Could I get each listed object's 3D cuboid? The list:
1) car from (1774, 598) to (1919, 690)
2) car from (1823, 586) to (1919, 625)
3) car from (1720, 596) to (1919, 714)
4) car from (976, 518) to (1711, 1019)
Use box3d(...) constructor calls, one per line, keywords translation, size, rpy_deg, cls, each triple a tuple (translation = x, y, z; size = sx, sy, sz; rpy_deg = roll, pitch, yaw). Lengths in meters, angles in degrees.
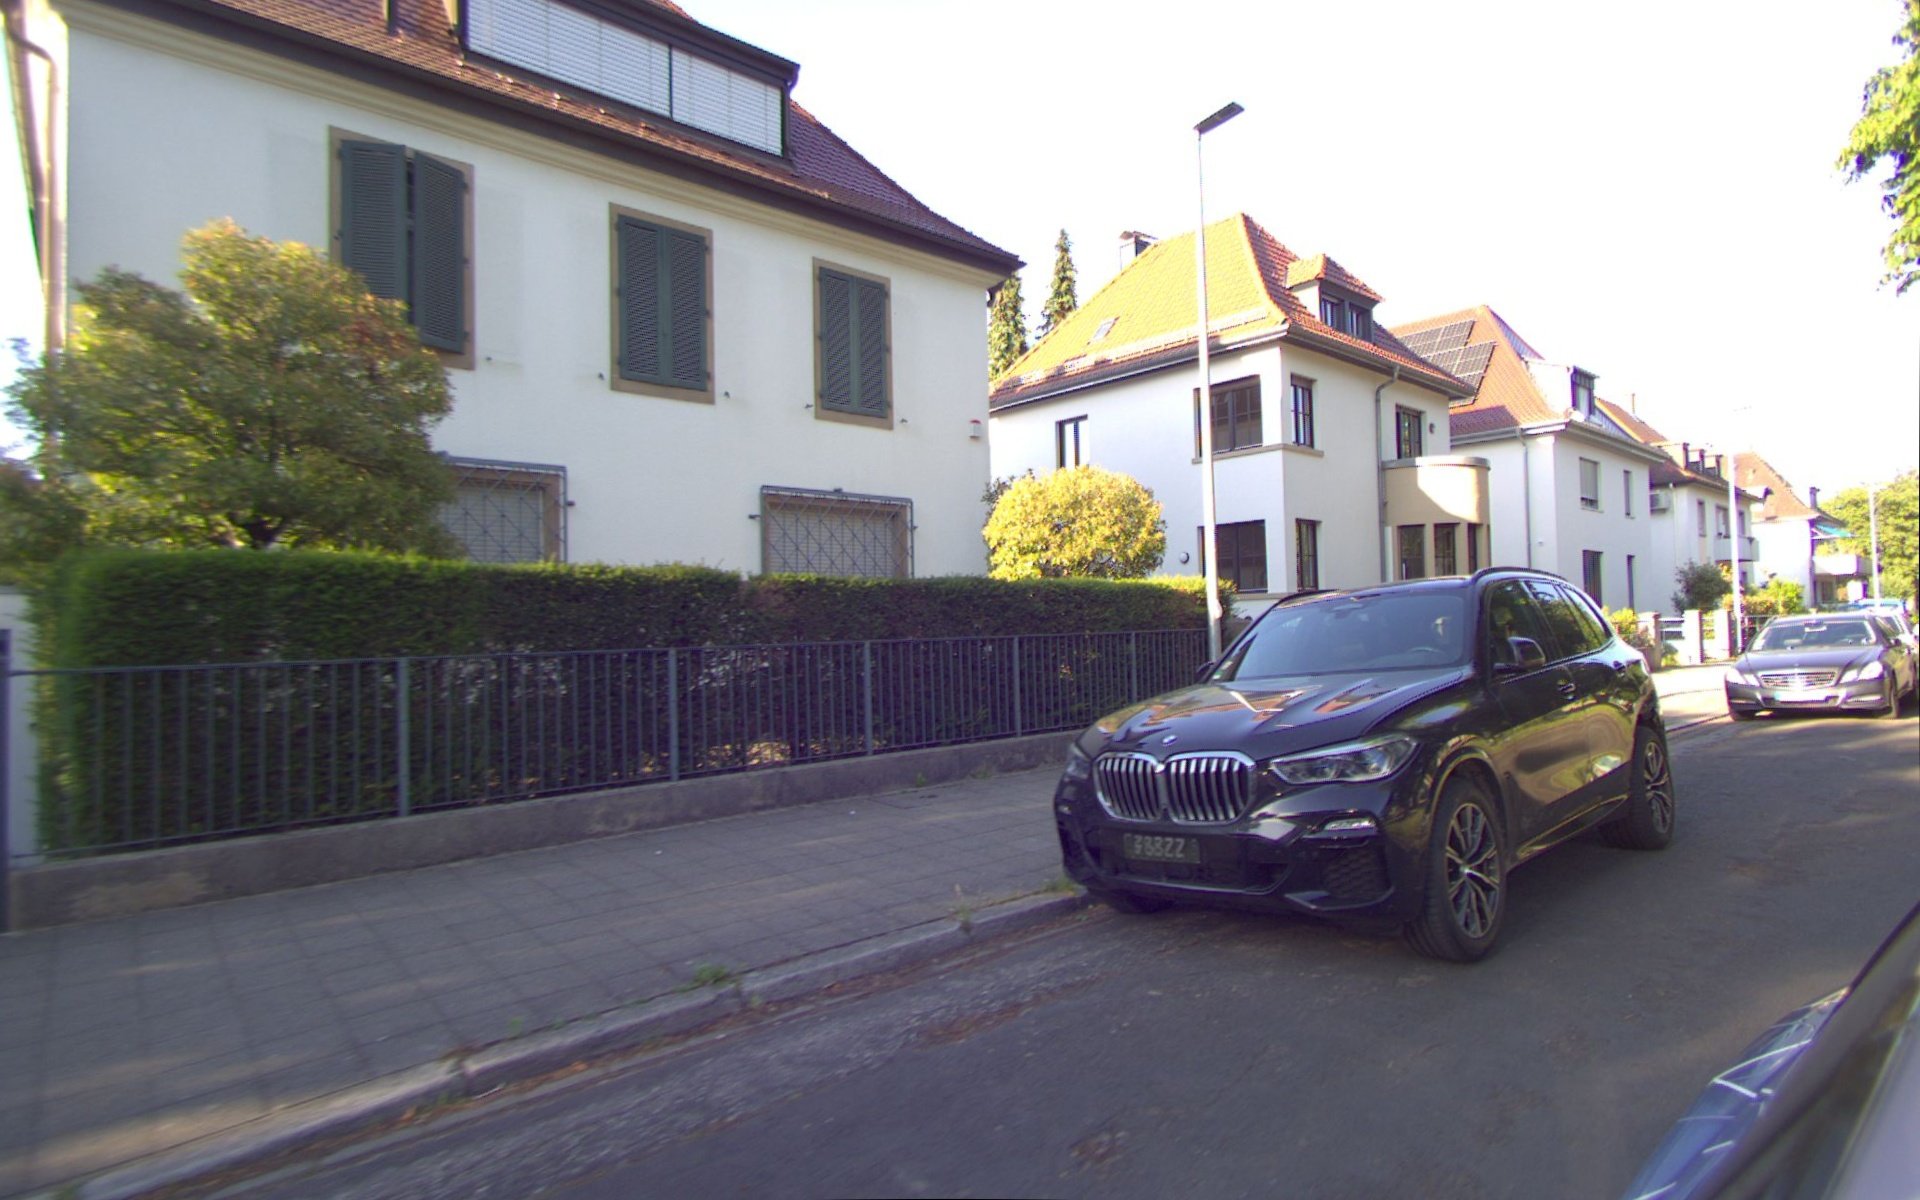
box3d(translation=(17.197, 0.786, 19.239), size=(4.475, 1.483, 1.994), rpy_deg=(0, -6, -44), cls="car")
box3d(translation=(49.912, 0.310, 55.303), size=(1.967, 1.953, 3.988), rpy_deg=(0, -2, -44), cls="car")
box3d(translation=(12.948, 0.757, 14.964), size=(4.515, 1.482, 1.781), rpy_deg=(-1, -5, -42), cls="car")
box3d(translation=(2.552, 0.657, 5.946), size=(4.781, 1.760, 1.994), rpy_deg=(0, -5, -43), cls="car")
